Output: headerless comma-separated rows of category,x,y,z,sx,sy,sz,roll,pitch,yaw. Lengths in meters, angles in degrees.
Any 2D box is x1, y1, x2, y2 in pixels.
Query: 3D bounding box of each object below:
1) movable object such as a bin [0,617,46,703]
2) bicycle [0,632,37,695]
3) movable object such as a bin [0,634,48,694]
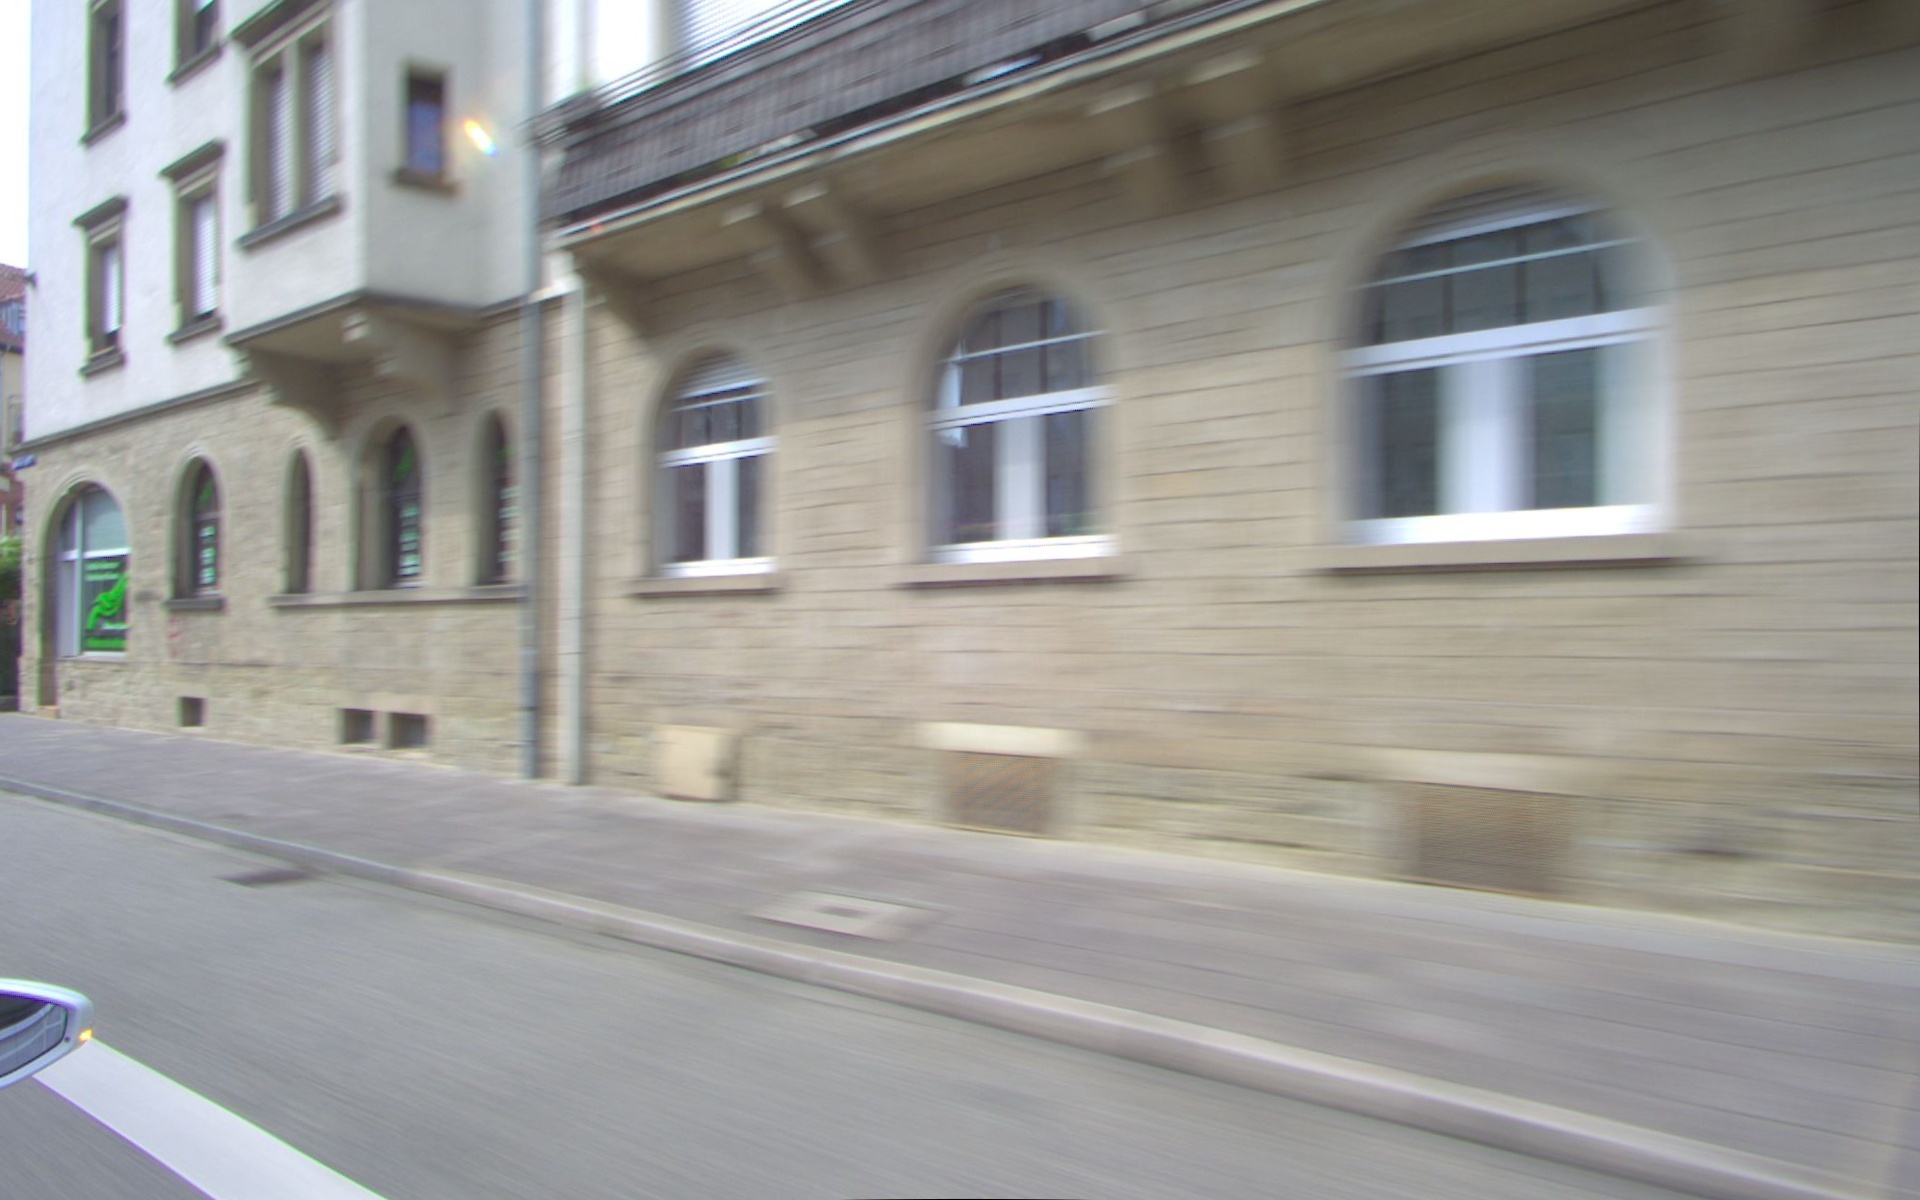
movable object such as a bin,-18.296,1.119,18.956,2.071,1.559,1.047,-1,-1,35
bicycle,-20.790,1.368,21.245,0.272,1.346,1.829,-1,-1,22
movable object such as a bin,-19.276,1.282,20.317,0.650,1.190,1.025,-1,-1,34
